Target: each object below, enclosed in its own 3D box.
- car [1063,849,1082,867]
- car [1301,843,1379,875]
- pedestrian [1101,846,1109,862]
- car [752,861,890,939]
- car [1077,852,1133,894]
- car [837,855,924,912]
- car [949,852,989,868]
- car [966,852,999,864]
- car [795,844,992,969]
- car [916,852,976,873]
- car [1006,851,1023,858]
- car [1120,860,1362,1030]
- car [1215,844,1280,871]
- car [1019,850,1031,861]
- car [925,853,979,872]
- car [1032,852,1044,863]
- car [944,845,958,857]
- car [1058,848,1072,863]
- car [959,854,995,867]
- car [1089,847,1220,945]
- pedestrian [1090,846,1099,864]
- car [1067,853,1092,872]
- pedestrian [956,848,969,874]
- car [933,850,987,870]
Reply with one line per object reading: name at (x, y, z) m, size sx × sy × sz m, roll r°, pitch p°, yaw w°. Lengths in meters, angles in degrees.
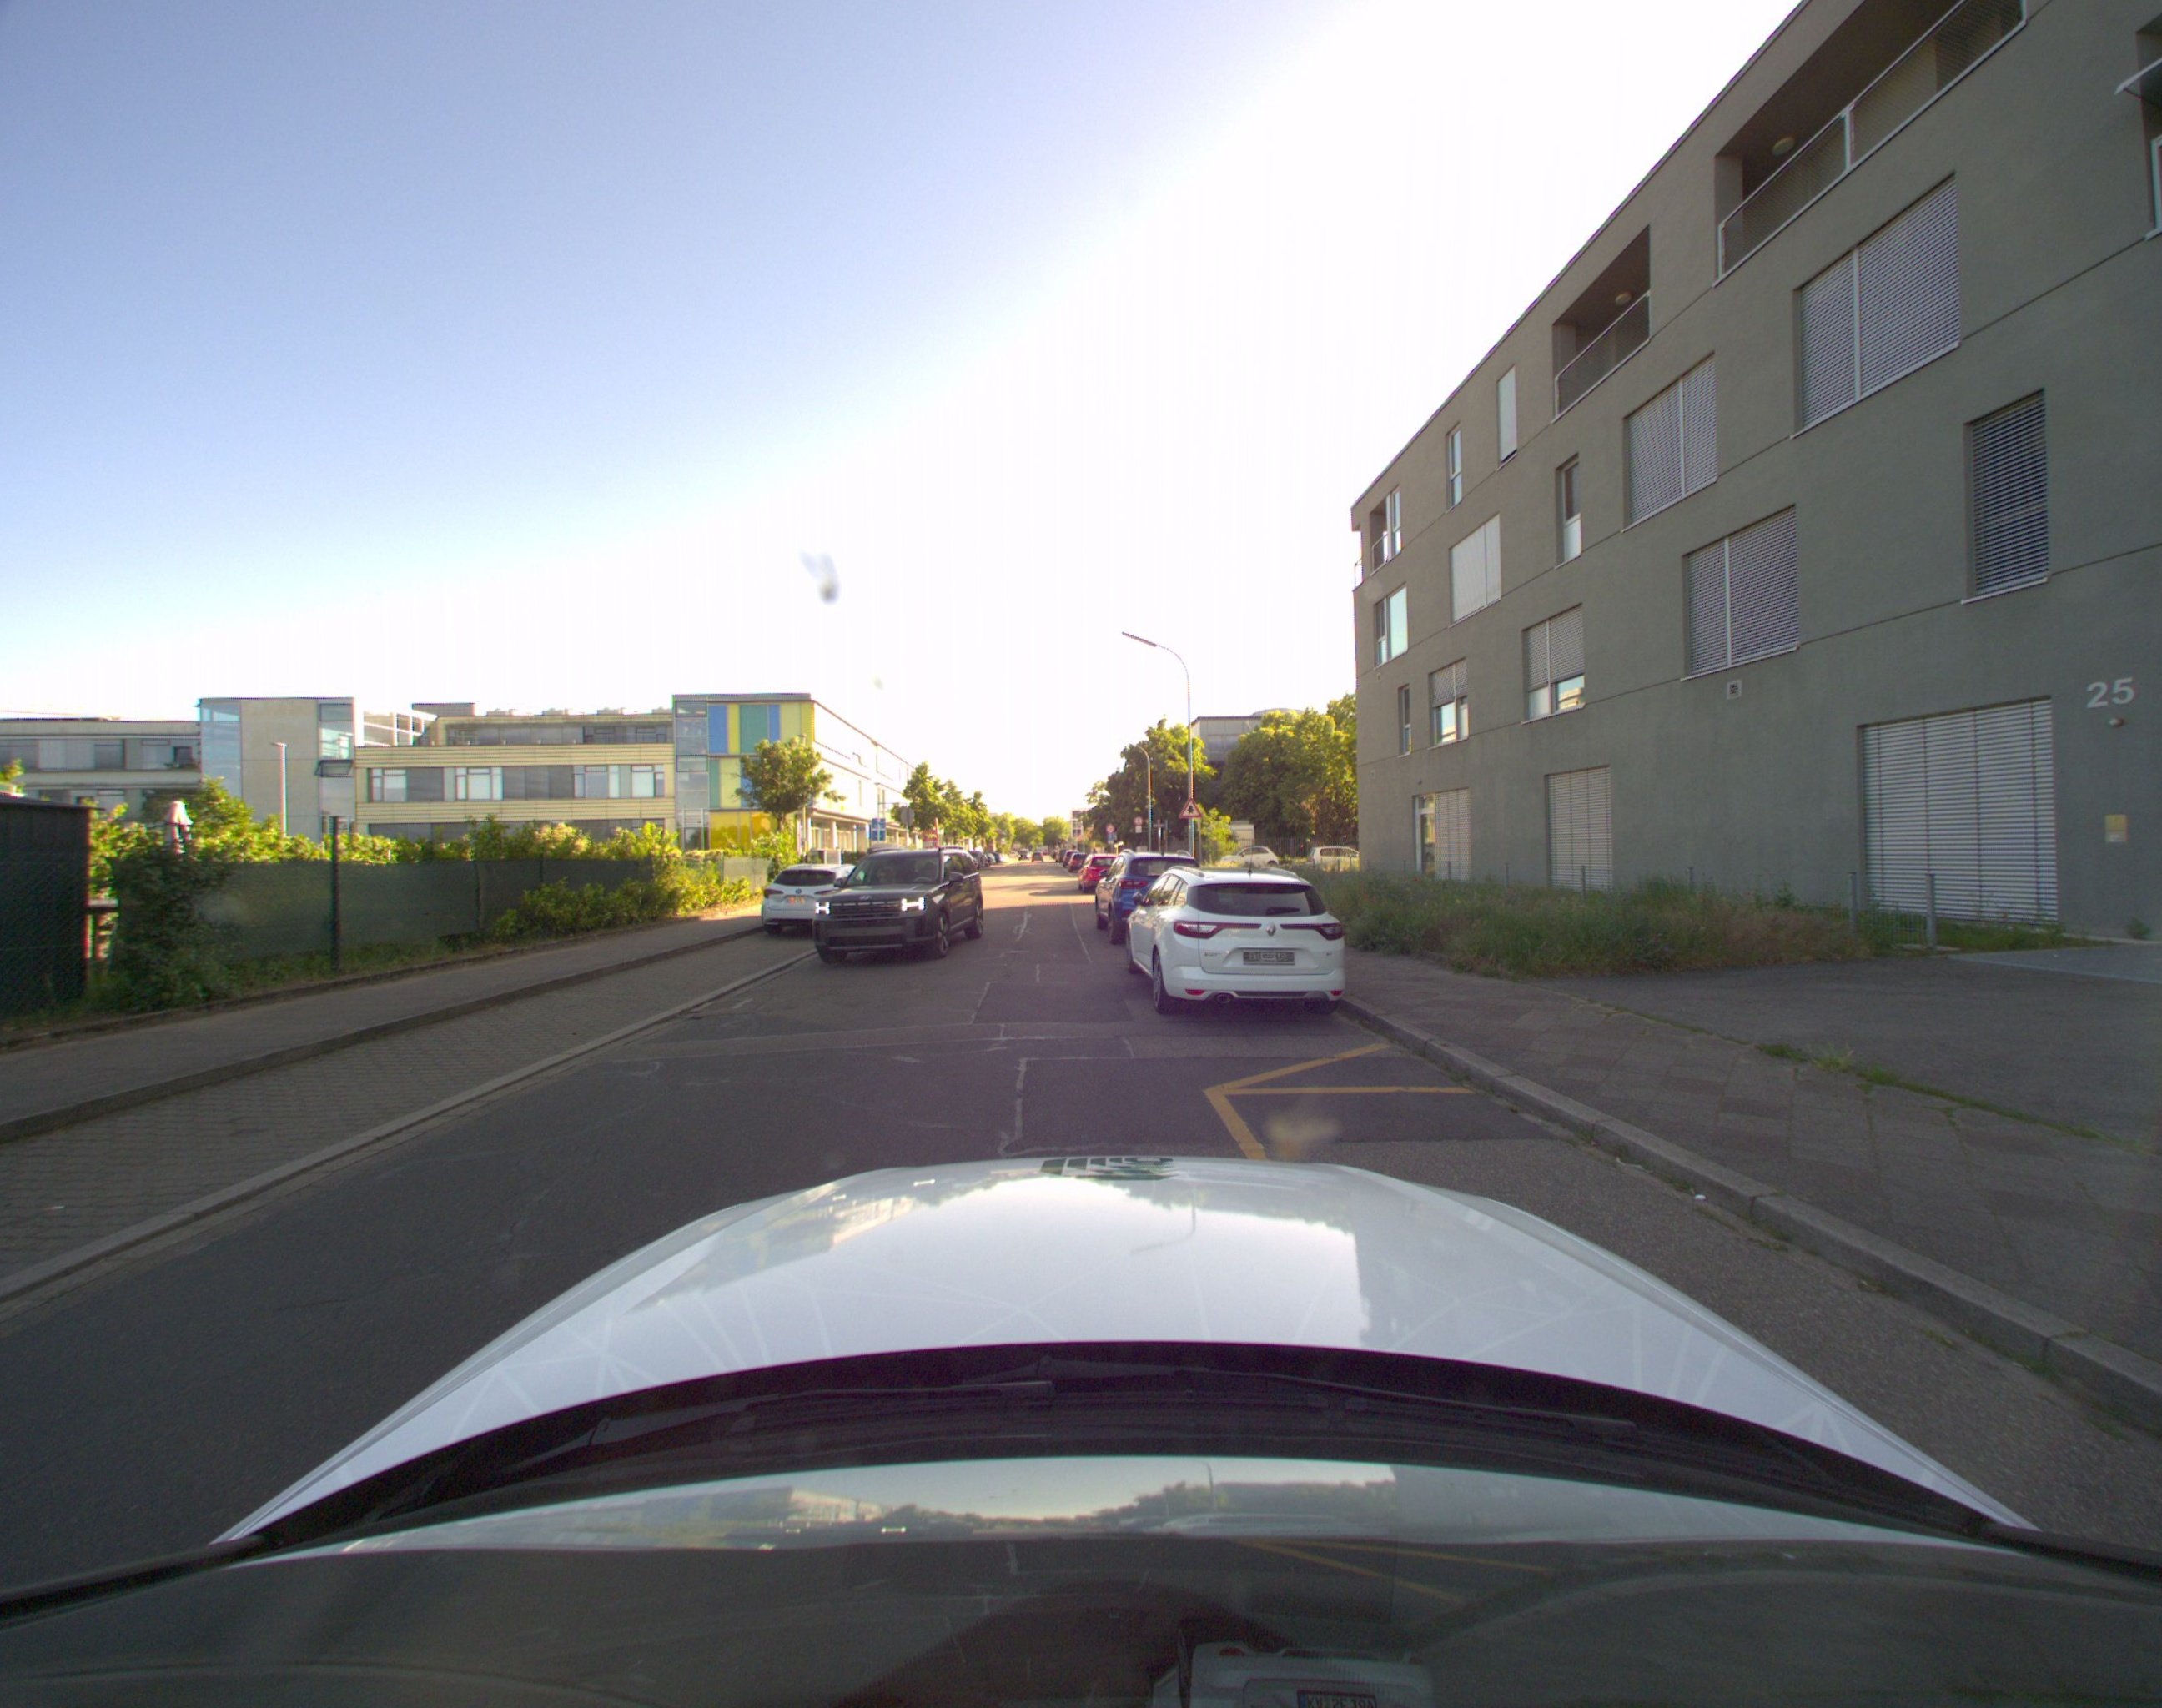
car at (-0.895, 0.403, 80.385) m, size 1.807 × 1.666 × 4.589 m, roll 0°, pitch 1°, yaw -2°
car at (12.860, 0.229, 40.551) m, size 3.314 × 1.458 × 1.715 m, roll -1°, pitch 0°, yaw 2°
pedestrian at (2.500, -0.019, 85.210) m, size 0.697 × 1.661 × 0.751 m, roll -3°, pitch 0°, yaw -3°
car at (-5.549, 0.912, 17.985) m, size 1.743 × 1.446 × 4.537 m, roll 0°, pitch 0°, yaw -2°
car at (0.863, 0.693, 31.935) m, size 1.815 × 1.499 × 4.446 m, roll 0°, pitch 0°, yaw -3°
car at (-5.883, 0.812, 24.372) m, size 1.692 × 1.513 × 4.512 m, roll 1°, pitch 0°, yaw -3°
car at (-11.355, 0.649, 82.867) m, size 3.983 × 1.607 × 1.868 m, roll 0°, pitch 0°, yaw -7°
car at (-13.115, 0.511, 108.512) m, size 4.210 × 1.603 × 1.868 m, roll 0°, pitch 0°, yaw -7°
car at (-2.948, 0.741, 14.054) m, size 1.934 × 1.727 × 4.843 m, roll -2°, pitch 0°, yaw 4°
car at (-11.152, 0.668, 67.592) m, size 4.596 × 1.651 × 1.867 m, roll -1°, pitch 0°, yaw 0°
car at (-15.707, 0.089, 192.063) m, size 3.978 × 1.519 × 1.998 m, roll -1°, pitch -1°, yaw -3°
car at (1.516, 0.813, 9.405) m, size 1.740 × 1.429 × 4.582 m, roll 0°, pitch 0°, yaw -2°
car at (9.912, 0.184, 48.646) m, size 3.537 × 1.486 × 1.599 m, roll -2°, pitch 0°, yaw -2°
car at (-9.820, 0.288, 141.907) m, size 1.952 × 1.867 × 5.246 m, roll -1°, pitch 0°, yaw -5°
car at (-11.076, 0.716, 70.233) m, size 4.423 × 1.501 × 1.825 m, roll -1°, pitch 0°, yaw -3°
car at (-6.184, 0.465, 117.990) m, size 1.739 × 1.543 × 3.996 m, roll -1°, pitch 0°, yaw -3°
car at (-23.418, -0.546, 146.718) m, size 1.989 × 2.014 × 3.995 m, roll -1°, pitch -1°, yaw -3°
car at (-2.111, 0.217, 105.290) m, size 1.729 × 1.830 × 3.901 m, roll -1°, pitch 0°, yaw -3°
car at (-11.634, 0.731, 91.409) m, size 3.983 × 1.358 × 1.739 m, roll 0°, pitch 0°, yaw -7°
car at (1.226, 0.684, 15.604) m, size 1.813 × 1.599 × 4.621 m, roll 0°, pitch 0°, yaw -4°
pedestrian at (1.391, 0.104, 83.601) m, size 0.716 × 1.758 × 0.884 m, roll -4°, pitch 0°, yaw -2°
car at (-0.174, 0.620, 64.376) m, size 1.716 × 1.455 × 4.646 m, roll 0°, pitch 0°, yaw -3°
pedestrian at (-8.751, 0.517, 60.232) m, size 0.855 × 1.842 × 0.825 m, roll 0°, pitch 0°, yaw -1°
car at (-11.250, 0.543, 75.874) m, size 4.731 × 1.865 × 1.826 m, roll 0°, pitch 0°, yaw -3°
